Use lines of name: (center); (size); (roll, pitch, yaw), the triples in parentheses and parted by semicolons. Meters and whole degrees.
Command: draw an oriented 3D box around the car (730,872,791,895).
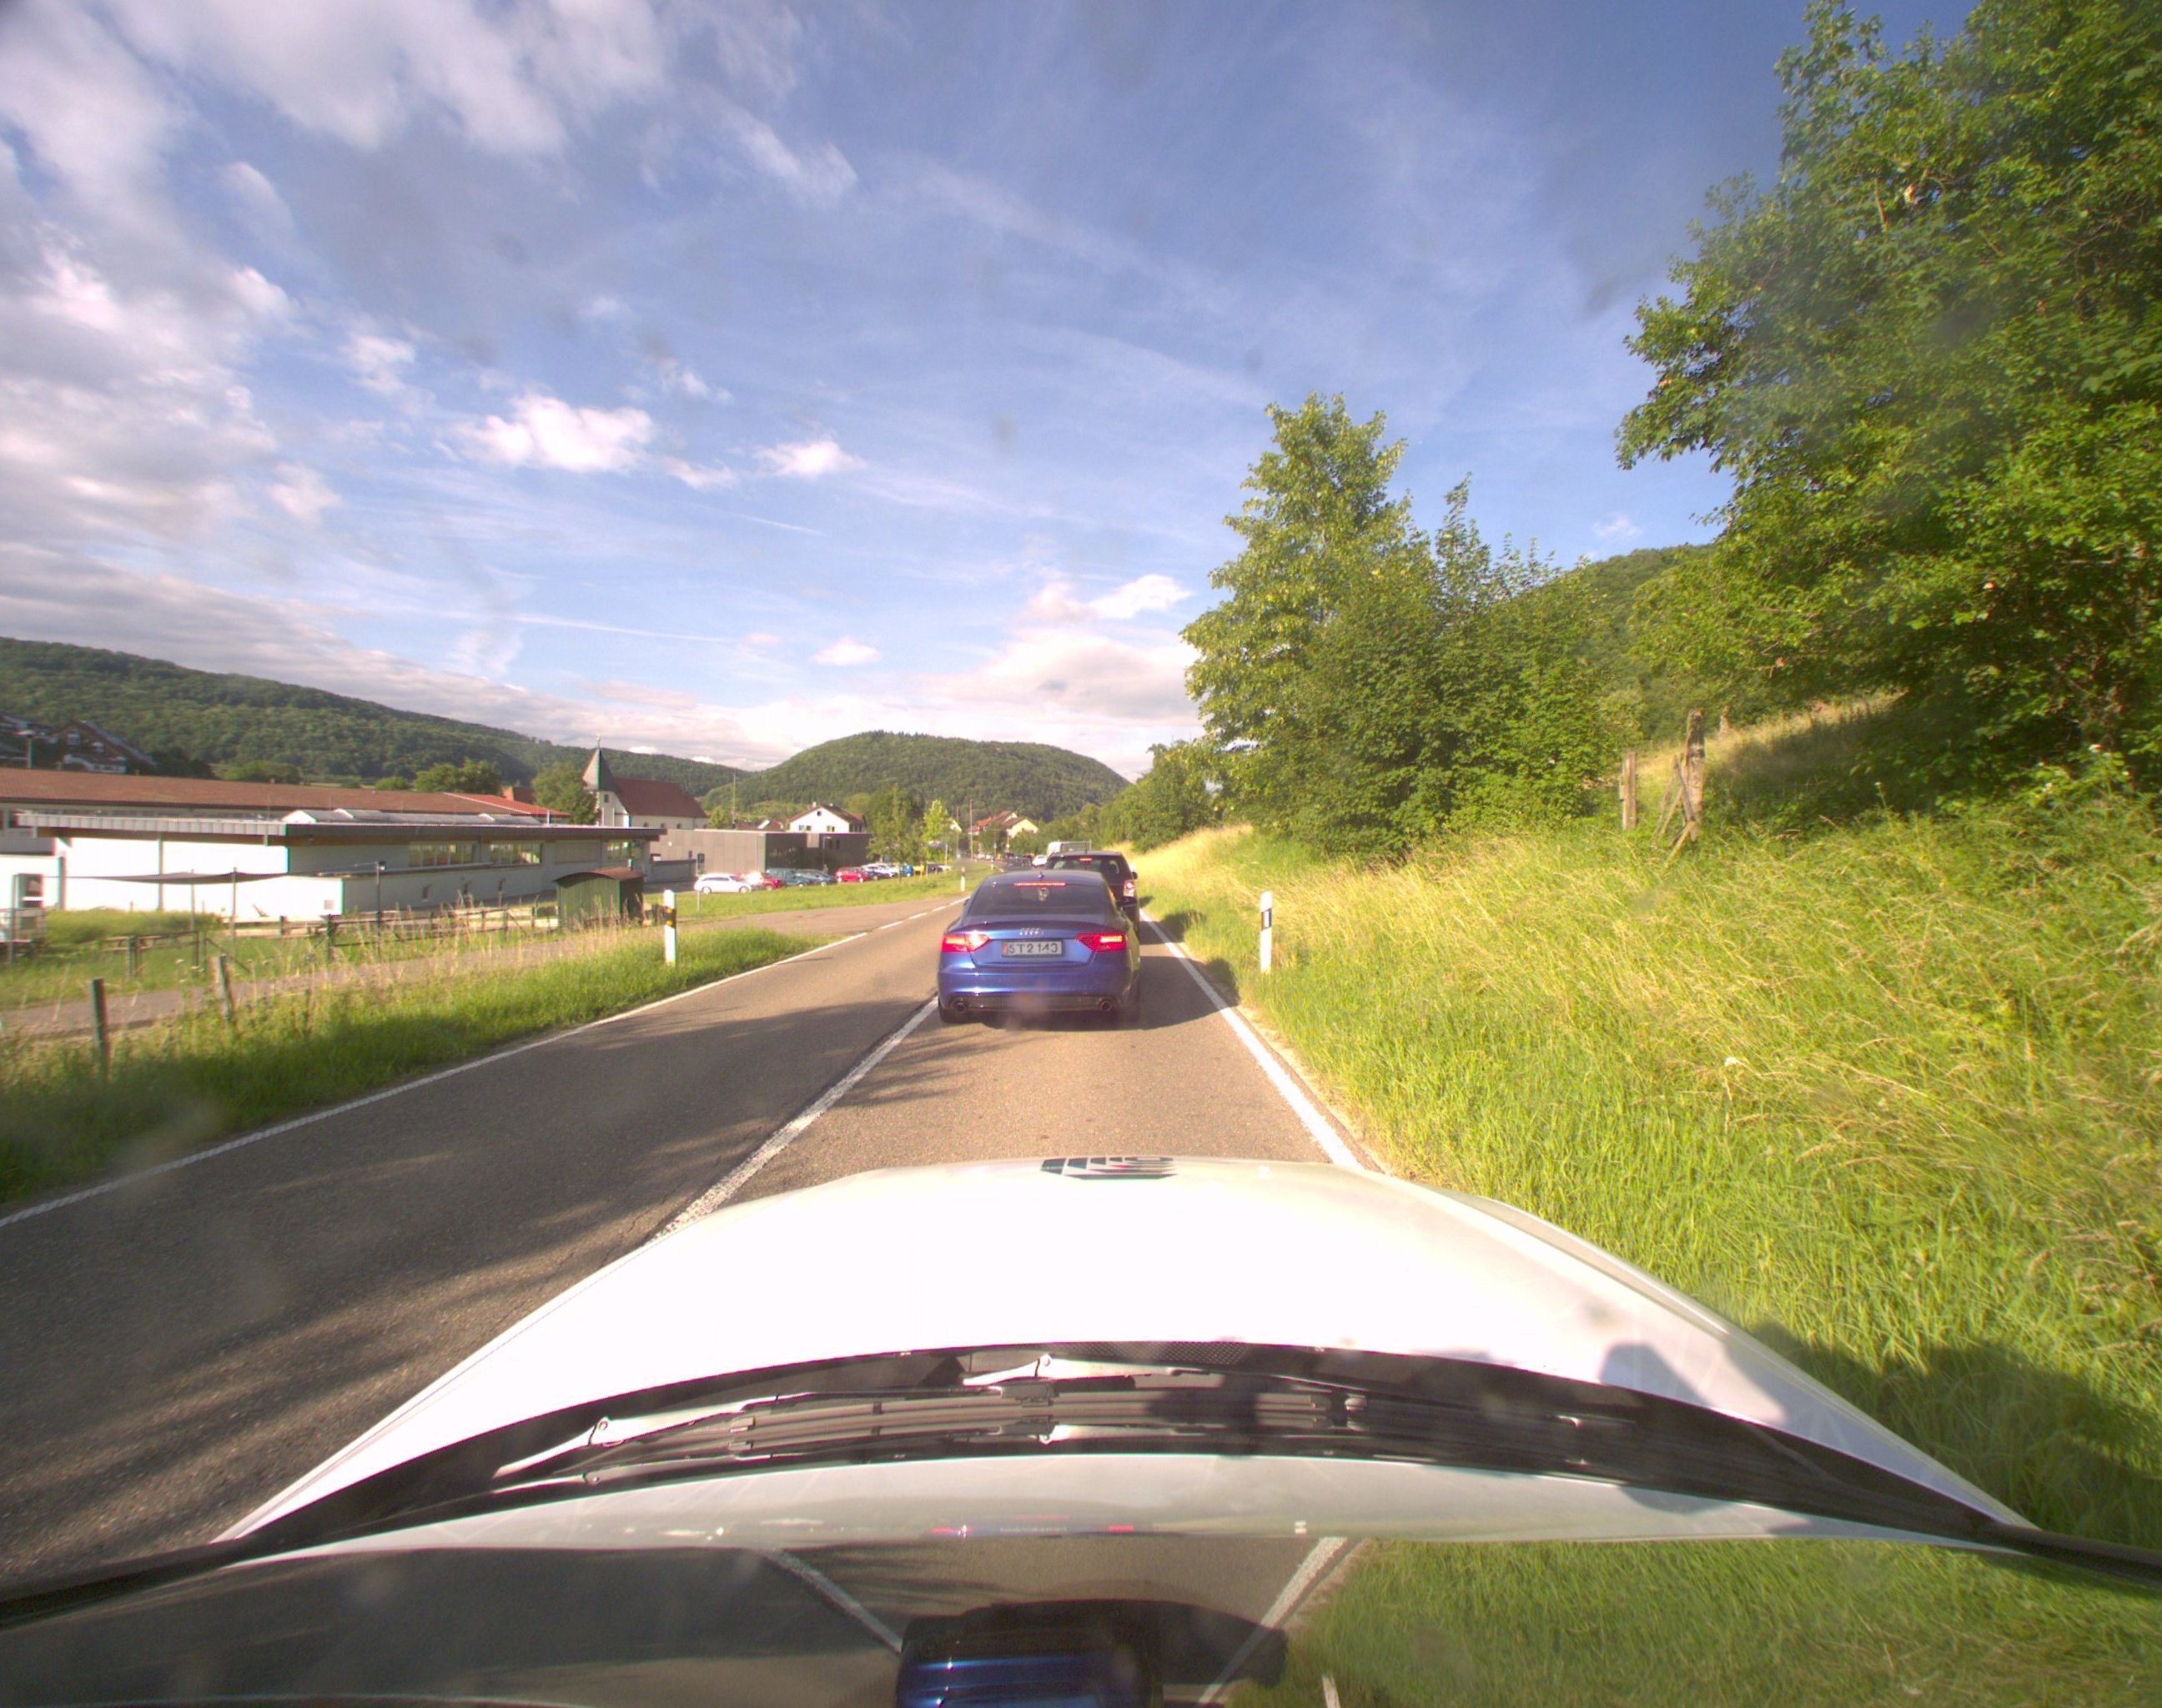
car: (-25.219, 2.322, 64.228); (3.975, 1.711, 1.999); (0, -1, -1)

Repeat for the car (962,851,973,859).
car: (-25.871, 0.164, 185.982); (1.849, 1.712, 3.978); (0, -1, -16)

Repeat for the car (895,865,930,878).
car: (-21.662, 2.234, 104.733); (3.975, 1.711, 1.999); (0, -1, -1)

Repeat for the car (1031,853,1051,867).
car: (-4.478, 0.704, 90.385); (1.845, 1.482, 3.987); (0, -1, -9)

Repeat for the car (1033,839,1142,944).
car: (0.194, 0.620, 15.014); (1.747, 1.681, 3.849); (0, -1, 3)

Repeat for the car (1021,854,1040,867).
car: (-6.430, 0.832, 103.162); (1.846, 1.712, 3.985); (0, -1, -10)

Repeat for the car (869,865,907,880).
car: (-22.821, 2.169, 96.293); (3.975, 1.711, 1.999); (0, -1, -1)

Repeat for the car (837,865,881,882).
car: (-23.080, 2.069, 84.800); (3.975, 1.711, 1.999); (0, -1, -1)

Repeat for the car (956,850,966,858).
car: (-28.808, 0.036, 195.492); (1.849, 1.712, 3.978); (0, -1, -16)

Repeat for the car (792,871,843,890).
car: (-24.106, 2.404, 74.521); (3.975, 1.711, 1.999); (0, -1, -1)

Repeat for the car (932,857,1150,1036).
car: (-0.234, 0.760, 8.471); (1.747, 1.430, 3.849); (0, -1, 3)

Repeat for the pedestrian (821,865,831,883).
pedestrian: (-28.981, 2.243, 92.616); (0.822, 2.014, 0.973); (0, -1, 1)

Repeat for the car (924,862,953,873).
car: (-20.834, 1.913, 119.291); (3.975, 1.579, 1.752); (0, -1, -1)

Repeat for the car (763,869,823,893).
car: (-24.720, 2.301, 70.031); (4.393, 2.008, 1.999); (0, -1, -1)

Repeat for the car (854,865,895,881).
car: (-22.668, 2.106, 89.344); (3.975, 1.711, 1.999); (0, -1, -1)

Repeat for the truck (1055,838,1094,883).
truck: (-0.390, 0.376, 50.018); (2.223, 2.570, 6.101); (0, -1, -1)

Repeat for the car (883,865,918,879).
car: (-22.577, 2.218, 102.078); (3.975, 1.711, 1.999); (0, -1, -1)

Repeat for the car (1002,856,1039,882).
car: (-3.489, 0.878, 47.439); (1.698, 1.430, 4.052); (0, -1, 2)

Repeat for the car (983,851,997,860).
car: (-17.392, 0.362, 154.812); (1.851, 1.712, 3.975); (0, -1, -18)

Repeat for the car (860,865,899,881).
car: (-23.027, 2.141, 93.012); (3.975, 1.711, 1.999); (0, -1, -1)

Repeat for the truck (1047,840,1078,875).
truck: (-1.412, 0.278, 62.754); (2.223, 2.570, 6.703); (0, -1, -1)

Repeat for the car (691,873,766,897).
car: (-26.442, 2.305, 61.246); (4.717, 1.711, 1.999); (0, -1, -1)

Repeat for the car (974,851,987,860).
car: (-20.341, 0.258, 164.675); (1.849, 1.712, 3.978); (0, -1, -16)

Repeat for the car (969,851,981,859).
car: (-22.695, 0.154, 174.554); (1.849, 1.712, 3.978); (0, -1, -16)
